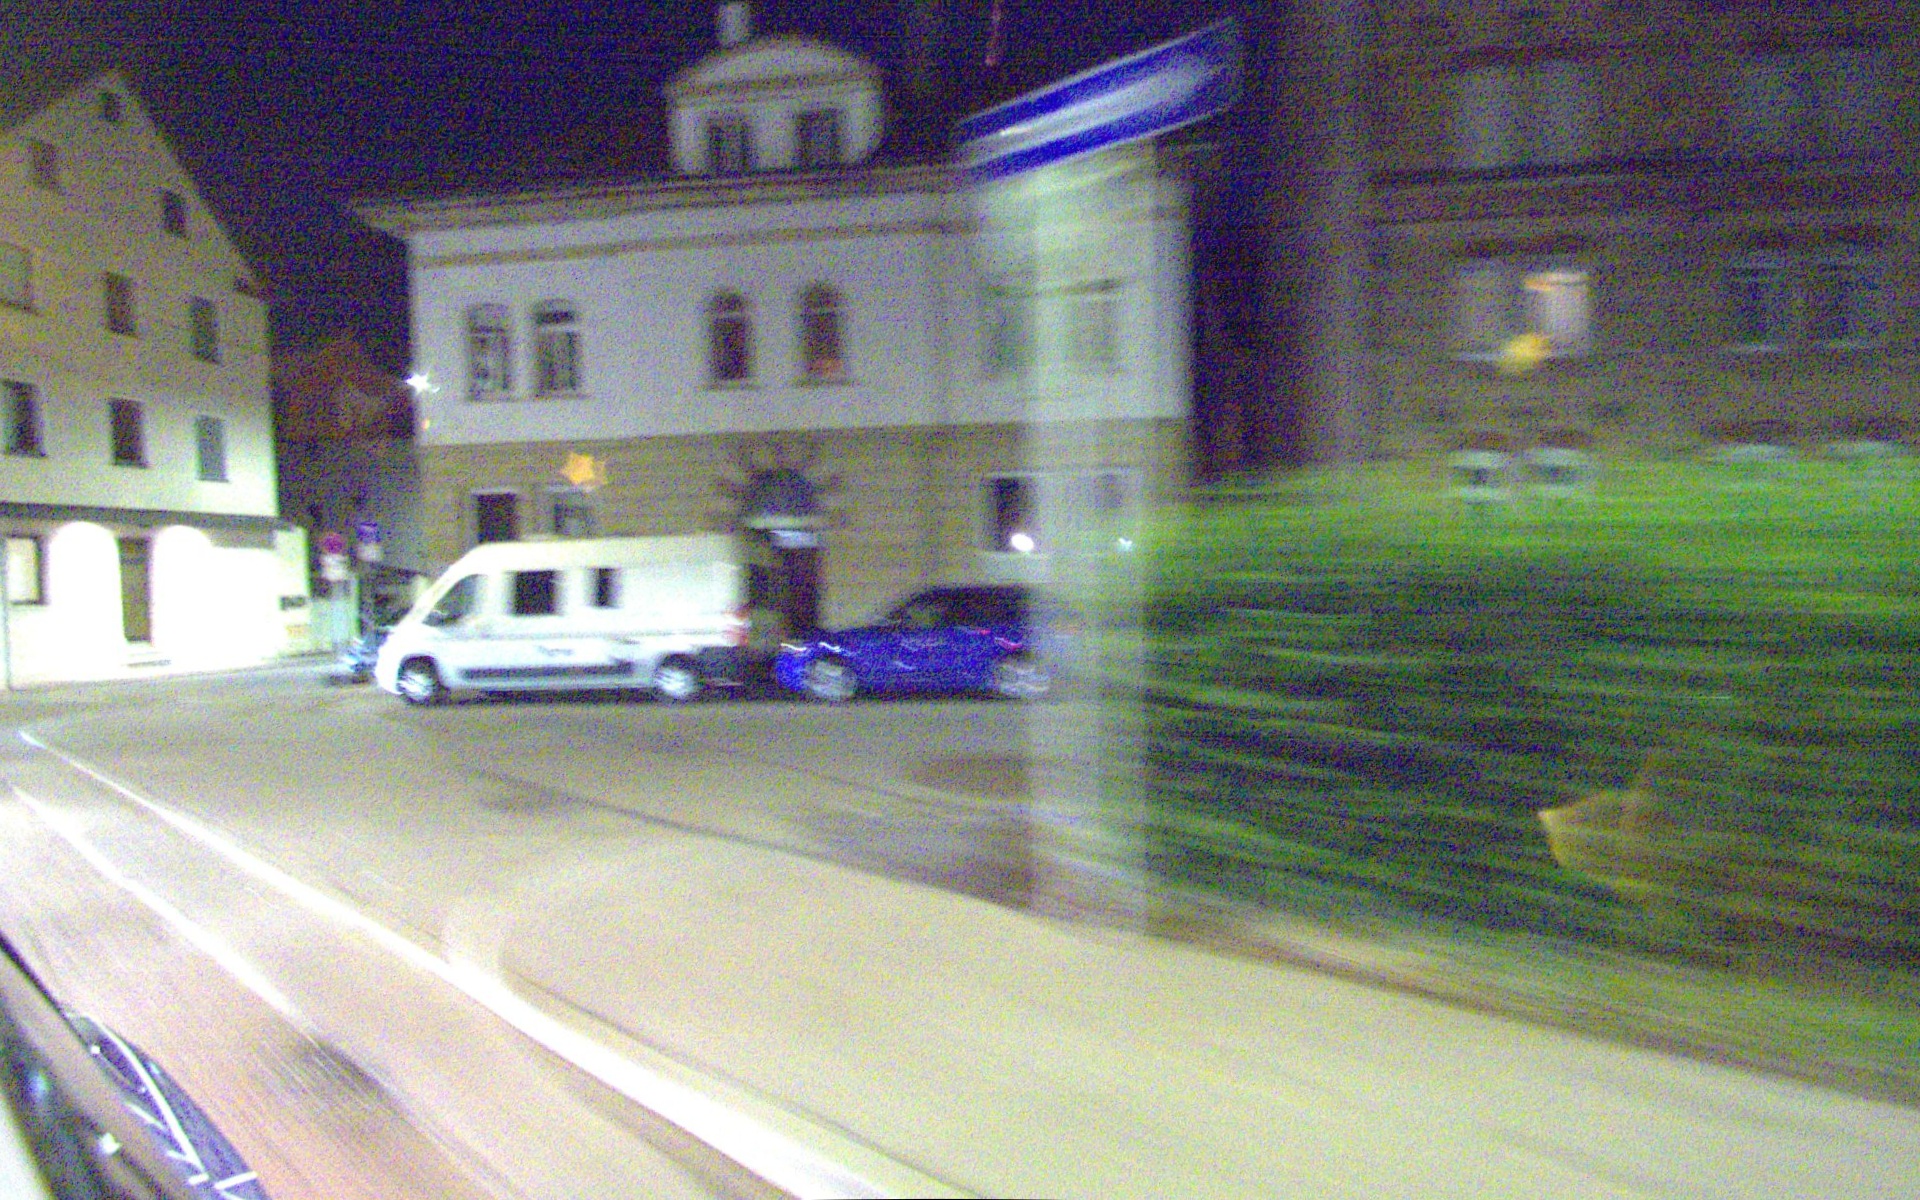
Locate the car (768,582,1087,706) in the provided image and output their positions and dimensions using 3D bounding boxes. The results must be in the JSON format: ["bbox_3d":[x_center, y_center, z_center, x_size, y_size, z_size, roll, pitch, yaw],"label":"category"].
[{"bbox_3d":[-0.378,0.617,14.560,4.323,1.603,1.893,-1,-1,8],"label":"car"}]

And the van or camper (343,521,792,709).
[{"bbox_3d":[-5.857,0.275,15.458,6.154,2.555,2.160,-1,-2,8],"label":"van or camper"}]

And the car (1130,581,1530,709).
[{"bbox_3d":[4.807,0.566,13.684,4.678,1.518,1.843,-1,0,2],"label":"car"}]

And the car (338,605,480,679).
[{"bbox_3d":[-12.610,0.921,23.319,1.472,1.524,2.812,-1,1,8],"label":"car"}]

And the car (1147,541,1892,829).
[{"bbox_3d":[3.389,0.522,7.006,4.062,1.615,1.884,-1,-1,11],"label":"car"}]
